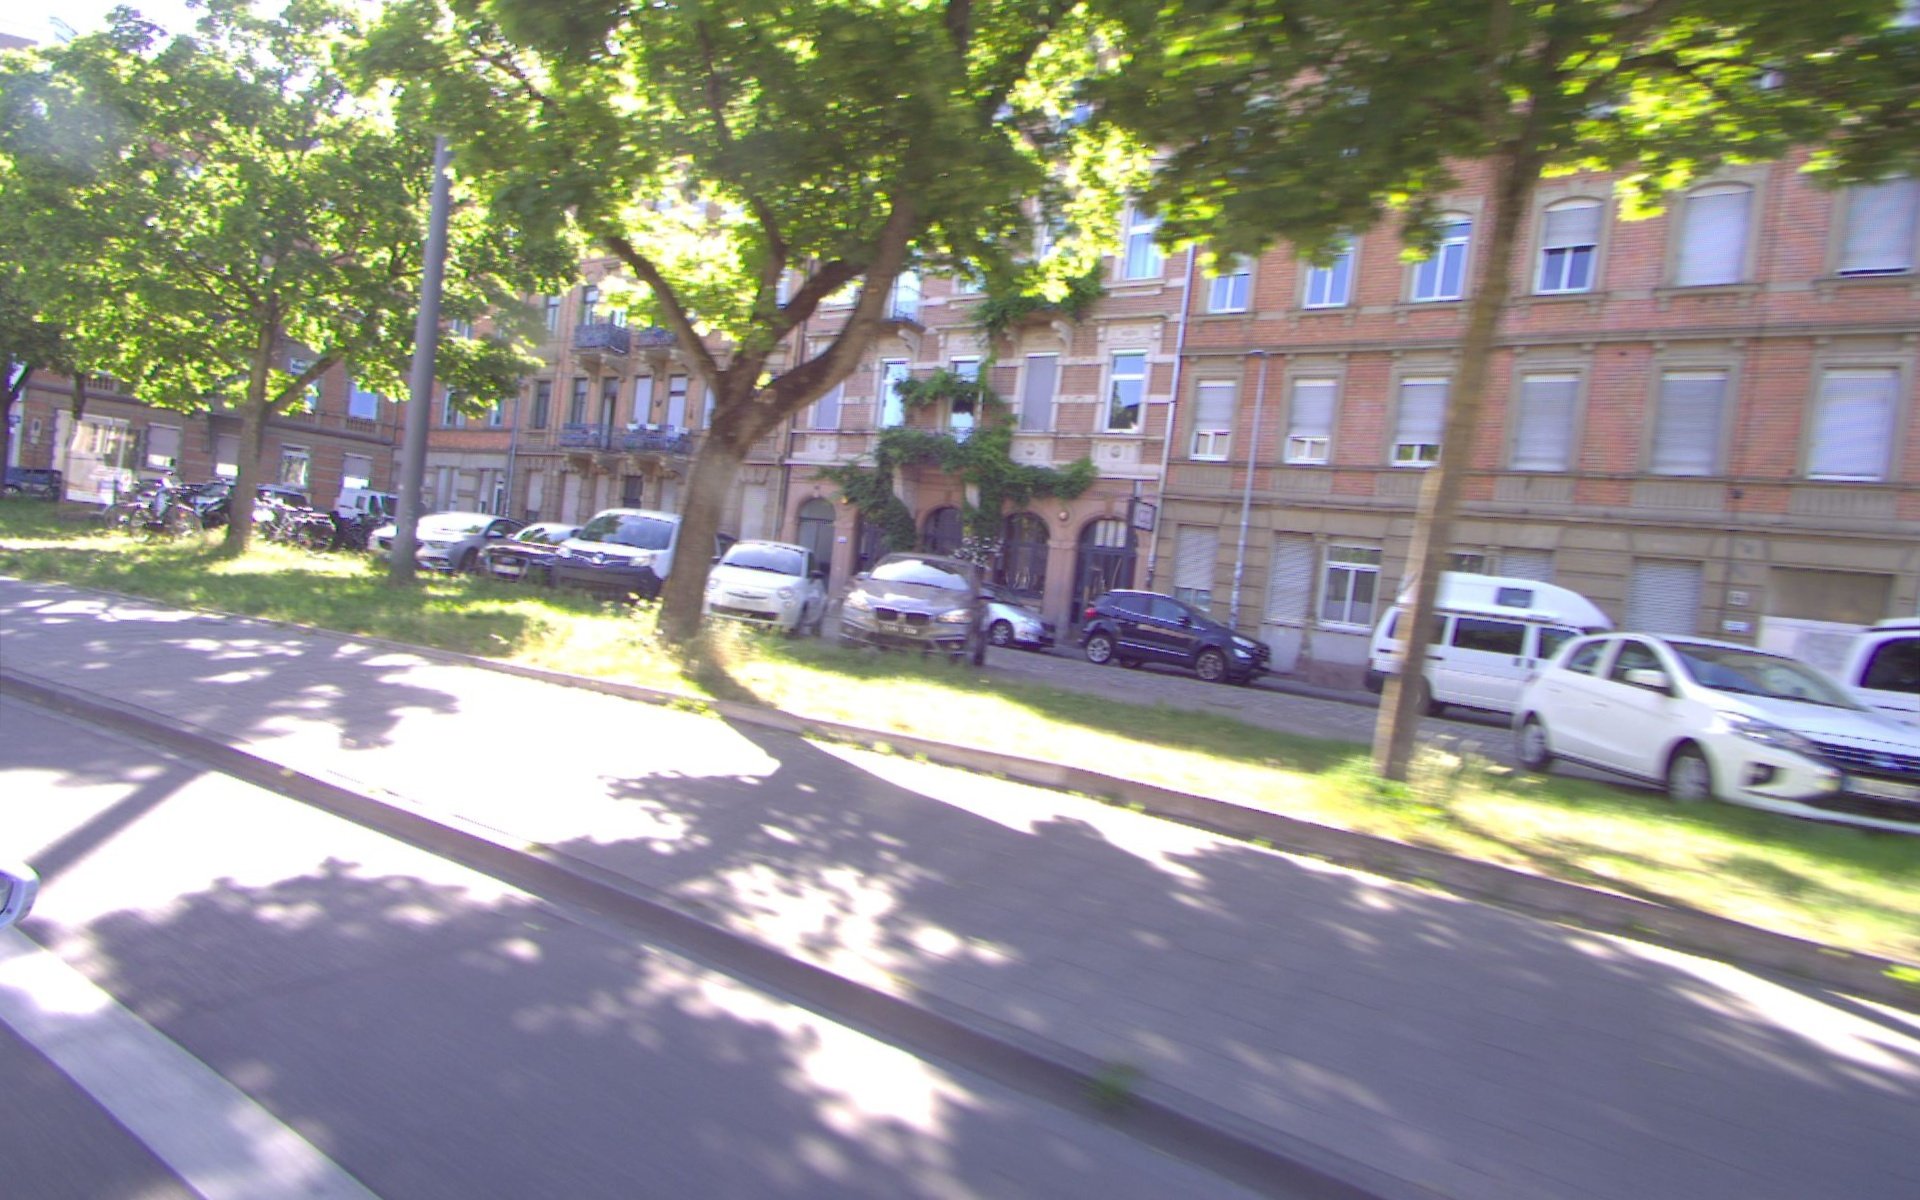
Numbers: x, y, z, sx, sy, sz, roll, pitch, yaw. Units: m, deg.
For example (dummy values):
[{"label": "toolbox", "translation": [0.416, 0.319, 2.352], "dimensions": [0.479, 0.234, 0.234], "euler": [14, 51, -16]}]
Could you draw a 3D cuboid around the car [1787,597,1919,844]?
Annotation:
[{"label": "car", "translation": [9.116, 1.189, 7.361], "dimensions": [2.060, 2.041, 5.182], "euler": [6, 3, 7]}]

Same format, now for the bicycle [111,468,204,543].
[{"label": "bicycle", "translation": [-15.652, -1.825, 19.669], "dimensions": [0.758, 1.307, 1.591], "euler": [5, 3, -14]}]

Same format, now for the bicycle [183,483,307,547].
[{"label": "bicycle", "translation": [-16.693, -1.968, 23.541], "dimensions": [0.809, 1.173, 2.163], "euler": [8, 2, 32]}]

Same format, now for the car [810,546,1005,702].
[{"label": "car", "translation": [-0.567, 0.213, 14.757], "dimensions": [1.962, 1.751, 4.508], "euler": [6, 3, 7]}]

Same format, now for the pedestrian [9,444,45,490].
[{"label": "pedestrian", "translation": [-35.331, -5.040, 38.117], "dimensions": [0.633, 1.597, 0.768], "euler": [6, 2, -16]}]

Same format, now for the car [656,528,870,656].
[{"label": "car", "translation": [-3.137, -0.213, 17.196], "dimensions": [2.060, 1.670, 4.875], "euler": [6, 3, 7]}]

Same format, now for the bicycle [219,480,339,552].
[{"label": "bicycle", "translation": [-15.648, -1.911, 23.180], "dimensions": [0.774, 1.382, 2.095], "euler": [8, 2, 30]}]

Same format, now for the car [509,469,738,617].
[{"label": "car", "translation": [-5.645, -0.966, 17.661], "dimensions": [2.061, 2.041, 4.874], "euler": [6, 3, 2]}]

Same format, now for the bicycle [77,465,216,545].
[{"label": "bicycle", "translation": [-17.259, -1.993, 21.395], "dimensions": [0.774, 1.382, 2.095], "euler": [8, 2, 30]}]

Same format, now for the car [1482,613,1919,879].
[{"label": "car", "translation": [6.547, 1.060, 8.877], "dimensions": [1.779, 1.499, 4.025], "euler": [6, 3, 3]}]

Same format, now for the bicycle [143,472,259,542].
[{"label": "bicycle", "translation": [-18.649, -2.255, 24.775], "dimensions": [0.773, 1.416, 2.097], "euler": [7, 2, 25]}]

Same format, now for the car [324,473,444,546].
[{"label": "car", "translation": [-23.425, -3.711, 40.843], "dimensions": [5.107, 2.390, 2.345], "euler": [9, 4, 37]}]

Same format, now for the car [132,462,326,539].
[{"label": "car", "translation": [-20.648, -2.758, 28.689], "dimensions": [1.901, 1.586, 4.469], "euler": [7, 1, 5]}]

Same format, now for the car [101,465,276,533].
[{"label": "car", "translation": [-22.957, -2.974, 30.127], "dimensions": [1.726, 1.460, 3.842], "euler": [7, 1, 14]}]

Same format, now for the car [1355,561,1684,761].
[{"label": "car", "translation": [9.560, 0.908, 17.366], "dimensions": [4.444, 2.621, 1.990], "euler": [9, 5, 37]}]

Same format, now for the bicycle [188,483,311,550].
[{"label": "bicycle", "translation": [-15.148, -1.766, 21.502], "dimensions": [0.828, 1.208, 1.955], "euler": [8, 4, 35]}]

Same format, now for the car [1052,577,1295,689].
[{"label": "car", "translation": [4.419, 0.659, 21.175], "dimensions": [4.443, 1.713, 1.992], "euler": [8, 2, 37]}]

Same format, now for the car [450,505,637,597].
[{"label": "car", "translation": [-7.952, -0.900, 19.589], "dimensions": [1.889, 1.398, 3.612], "euler": [7, 1, 3]}]

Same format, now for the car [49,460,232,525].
[{"label": "car", "translation": [-25.031, -3.253, 30.931], "dimensions": [1.804, 1.354, 4.056], "euler": [7, 1, 13]}]

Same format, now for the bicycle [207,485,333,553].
[{"label": "bicycle", "translation": [-14.382, -1.666, 21.019], "dimensions": [0.886, 1.196, 1.942], "euler": [8, 3, 35]}]

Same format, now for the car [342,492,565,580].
[{"label": "car", "translation": [-10.446, -1.248, 21.250], "dimensions": [2.008, 1.398, 4.750], "euler": [7, 1, 3]}]

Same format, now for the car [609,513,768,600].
[{"label": "car", "translation": [-8.093, -1.313, 29.828], "dimensions": [4.650, 2.005, 1.991], "euler": [9, 4, 36]}]

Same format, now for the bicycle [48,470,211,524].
[{"label": "bicycle", "translation": [-28.046, -3.482, 33.950], "dimensions": [5.134, 1.141, 2.676], "euler": [8, 1, 31]}]

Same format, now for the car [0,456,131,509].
[{"label": "car", "translation": [-35.141, -4.571, 39.134], "dimensions": [4.058, 1.455, 1.986], "euler": [6, 1, -27]}]

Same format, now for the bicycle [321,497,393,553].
[{"label": "bicycle", "translation": [-16.719, -2.051, 27.957], "dimensions": [0.773, 1.382, 2.097], "euler": [6, 1, -4]}]

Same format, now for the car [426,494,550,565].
[{"label": "car", "translation": [-17.039, -2.553, 36.254], "dimensions": [4.650, 2.005, 1.991], "euler": [9, 4, 36]}]

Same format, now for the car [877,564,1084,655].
[{"label": "car", "translation": [0.452, 0.181, 24.084], "dimensions": [4.438, 1.550, 1.993], "euler": [8, 4, 32]}]
